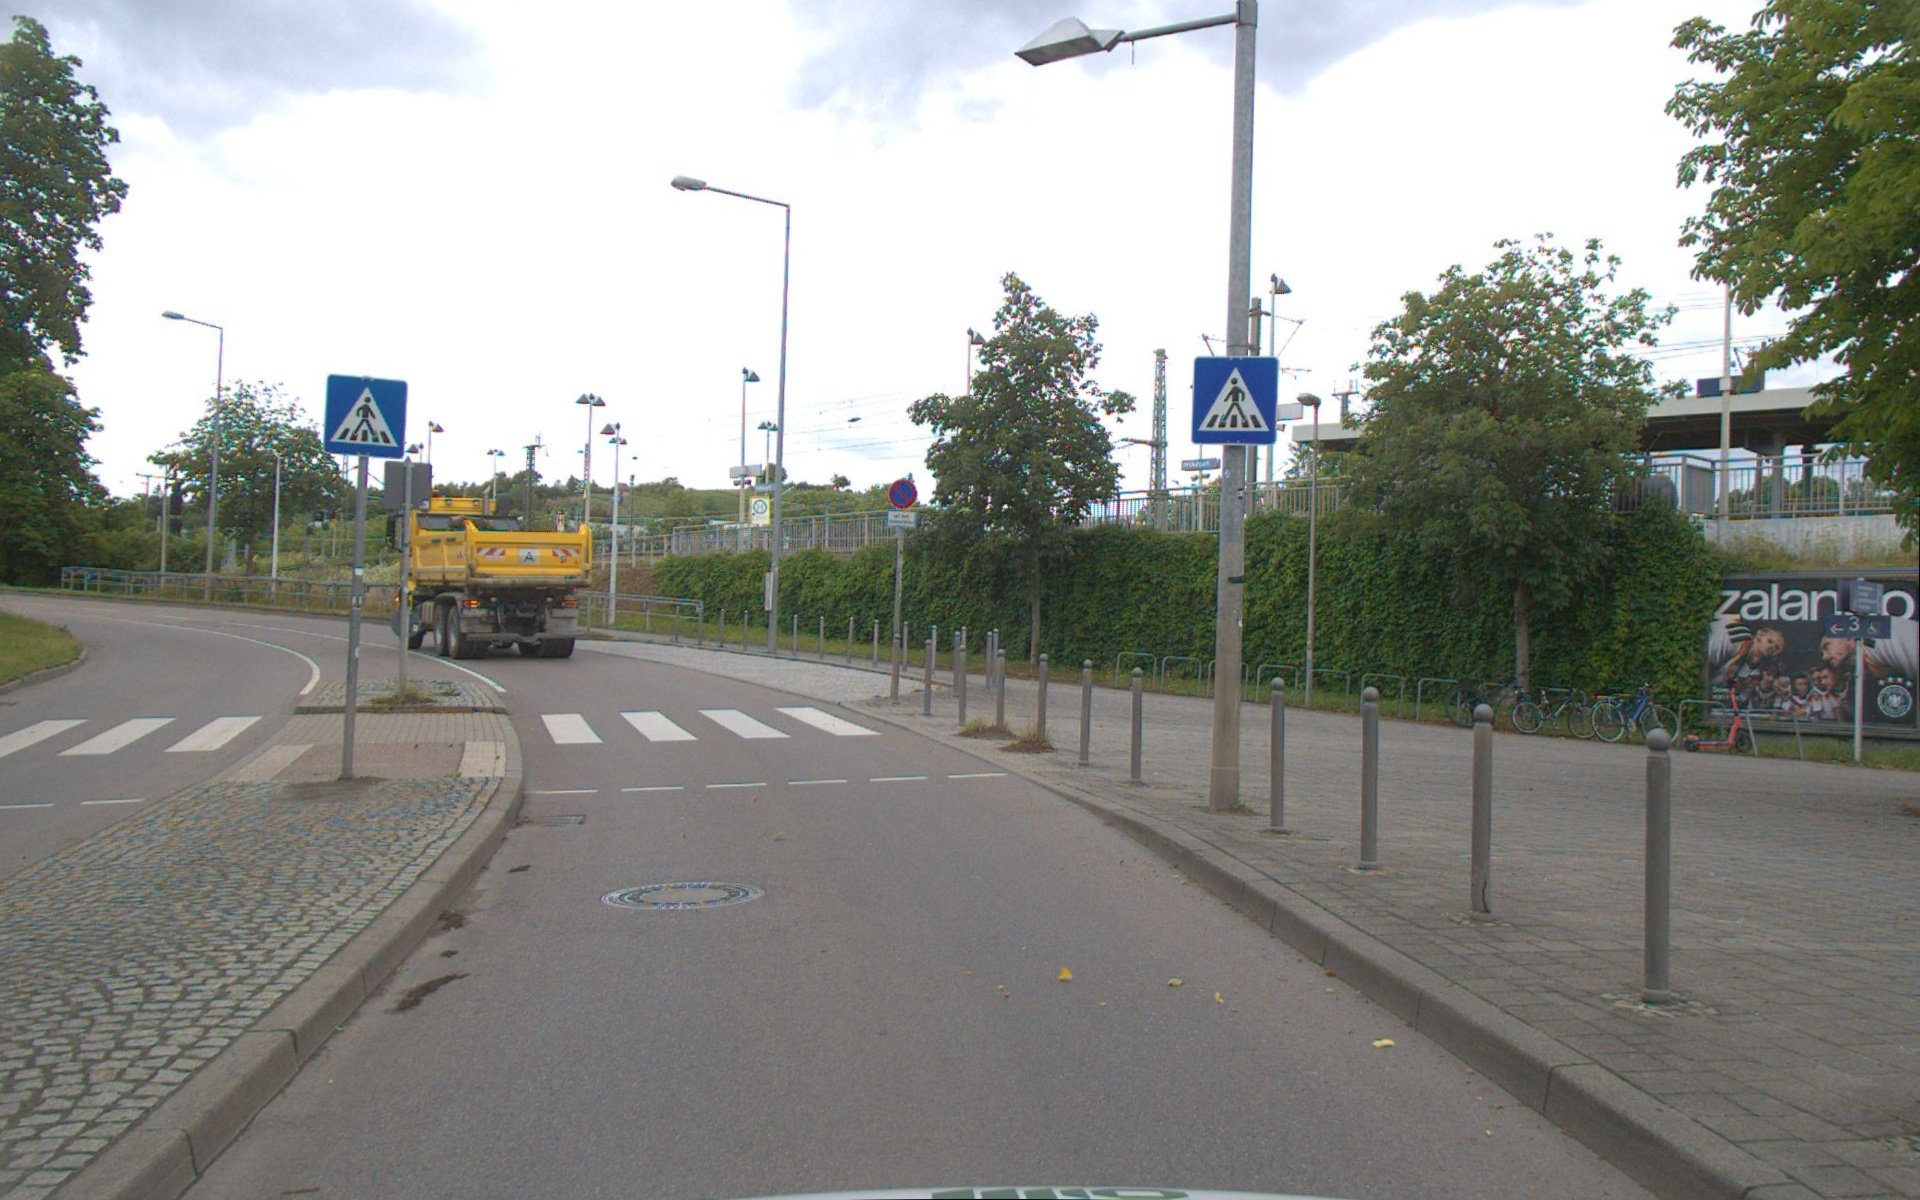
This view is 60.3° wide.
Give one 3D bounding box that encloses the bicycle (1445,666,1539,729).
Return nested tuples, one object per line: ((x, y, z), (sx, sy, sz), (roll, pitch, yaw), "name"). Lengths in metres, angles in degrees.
((9.577, 1.750, 29.817), (1.456, 1.007, 0.695), (3, -1, 6), "bicycle")

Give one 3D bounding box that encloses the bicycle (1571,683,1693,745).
((11.483, 1.944, 28.265), (1.931, 0.880, 0.509), (5, -1, -12), "bicycle")

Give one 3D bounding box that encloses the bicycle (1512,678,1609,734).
((10.608, 1.873, 29.224), (1.546, 0.869, 0.462), (4, -1, -9), "bicycle")

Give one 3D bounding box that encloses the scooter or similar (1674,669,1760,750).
((12.399, 1.793, 27.090), (1.165, 1.227, 0.467), (4, -1, -9), "scooter or similar")

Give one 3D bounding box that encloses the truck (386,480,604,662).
((-10.428, -0.676, 36.417), (2.735, 3.544, 8.049), (1, 1, -30), "truck")
